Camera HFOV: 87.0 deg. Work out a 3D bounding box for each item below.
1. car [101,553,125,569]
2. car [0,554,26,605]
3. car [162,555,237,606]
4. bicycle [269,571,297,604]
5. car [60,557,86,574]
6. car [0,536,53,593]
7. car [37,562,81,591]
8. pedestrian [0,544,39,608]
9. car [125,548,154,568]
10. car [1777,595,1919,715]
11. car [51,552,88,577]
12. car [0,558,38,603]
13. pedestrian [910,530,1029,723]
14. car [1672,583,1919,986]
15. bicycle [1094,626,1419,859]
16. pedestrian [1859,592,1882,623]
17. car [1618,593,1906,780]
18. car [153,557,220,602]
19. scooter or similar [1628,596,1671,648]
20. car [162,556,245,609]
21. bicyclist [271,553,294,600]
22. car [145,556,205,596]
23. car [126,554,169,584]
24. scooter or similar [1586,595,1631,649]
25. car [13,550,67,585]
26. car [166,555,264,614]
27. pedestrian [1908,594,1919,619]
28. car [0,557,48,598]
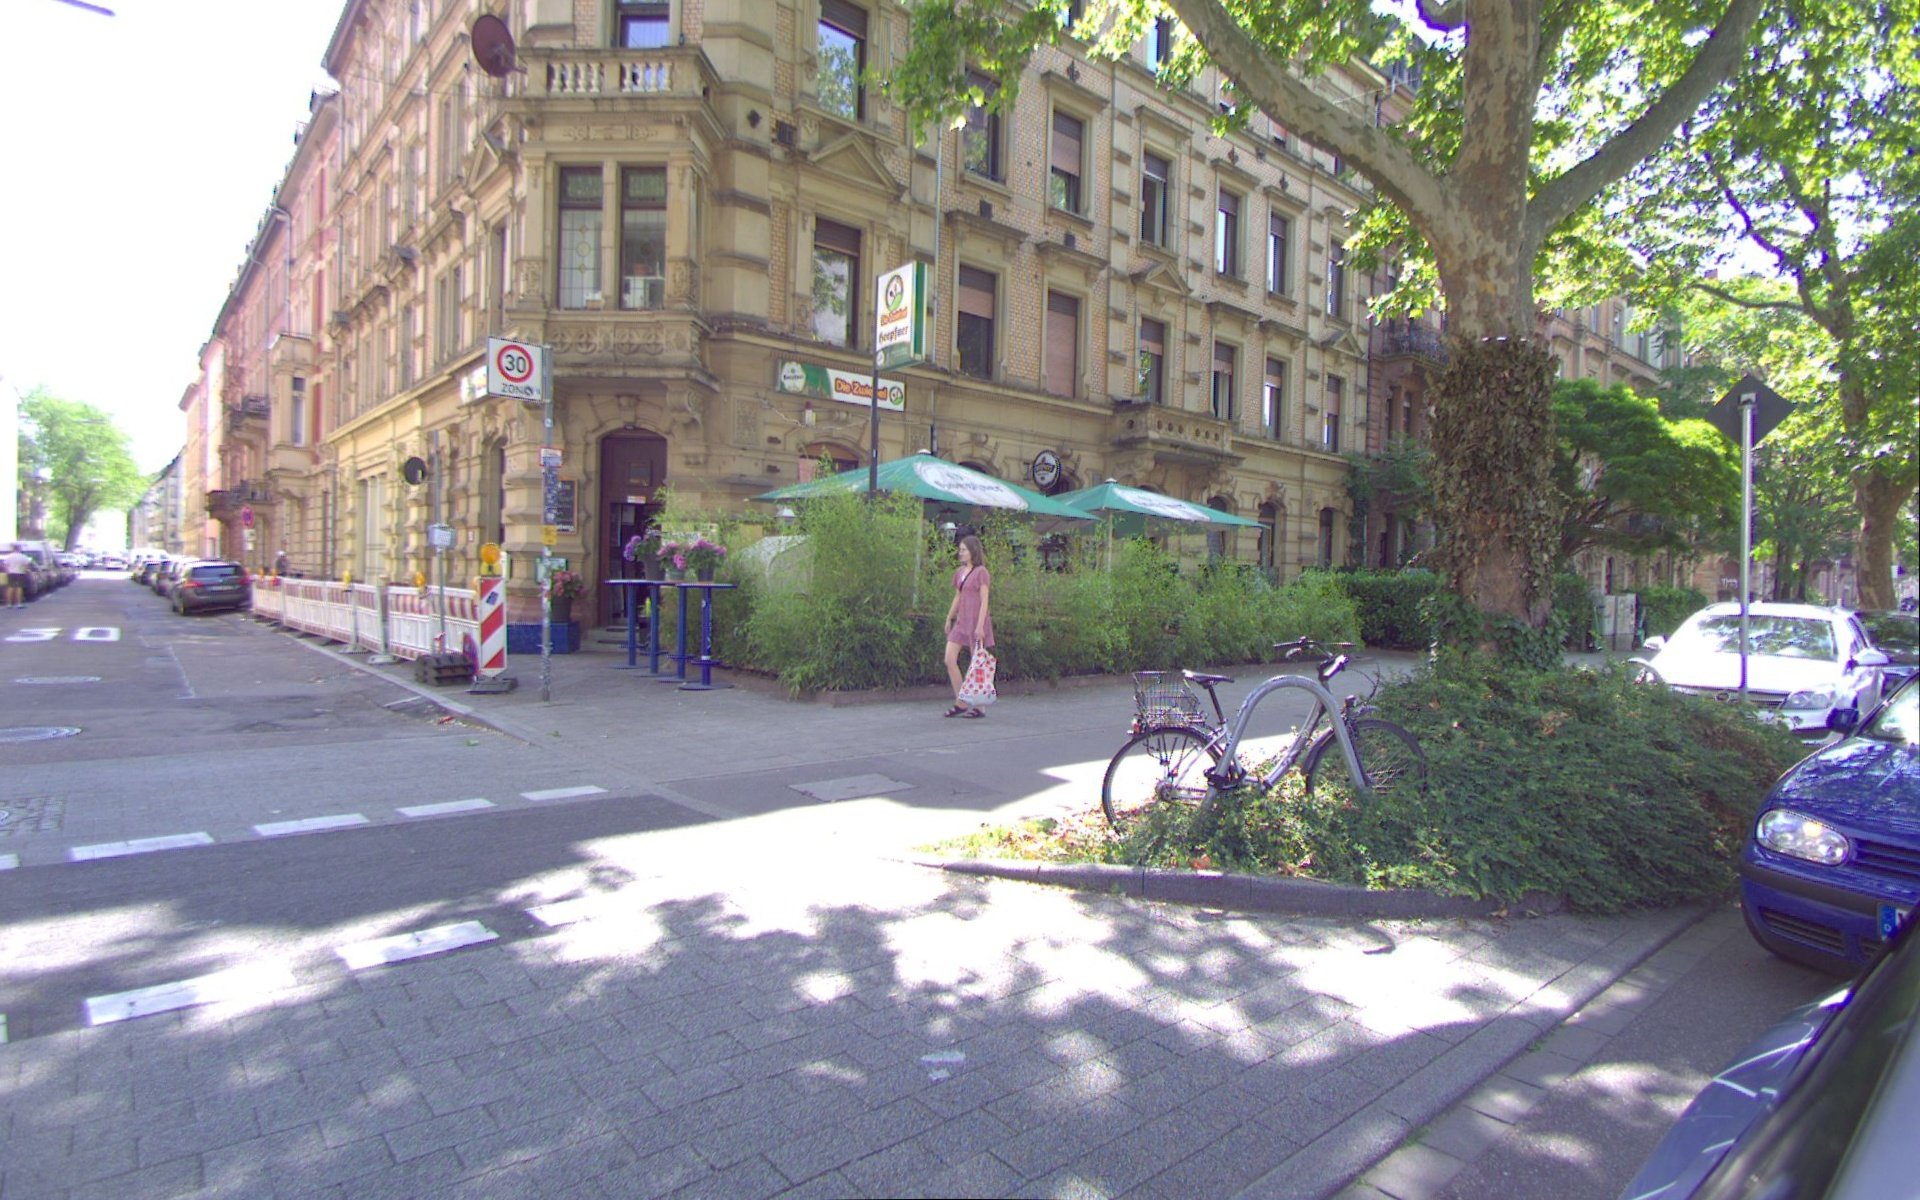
[{"bbox_3d":[-95.021,-4.403,113.518,1.965,1.760,3.995,0,1,-41],"label":"car"},{"bbox_3d":[-30.649,-0.681,31.874,1.698,1.548,3.490,0,1,-41],"label":"car"},{"bbox_3d":[-28.321,-0.750,37.655,1.965,1.760,3.995,0,2,-41],"label":"car"},{"bbox_3d":[-21.573,-0.405,32.237,0.530,0.991,1.307,1,1,-44],"label":"bicycle"},{"bbox_3d":[-77.408,-3.034,88.370,1.641,1.419,3.357,0,1,-40],"label":"car"},{"bbox_3d":[-41.390,-1.563,44.616,1.879,2.403,4.244,1,1,-39],"label":"car"},{"bbox_3d":[-57.824,-1.521,64.991,1.879,1.731,4.159,1,1,-39],"label":"car"},{"bbox_3d":[-27.426,-0.702,29.416,0.921,1.821,1.036,0,1,-44],"label":"pedestrian"},{"bbox_3d":[-75.786,-3.846,93.410,1.965,1.760,3.995,0,1,-41],"label":"car"},{"bbox_3d":[14.065,0.737,15.290,4.561,1.526,1.837,0,2,-40],"label":"car"},{"bbox_3d":[-64.433,-2.603,73.268,1.879,1.731,4.157,0,1,-40],"label":"car"},{"bbox_3d":[-34.208,-0.729,36.246,1.698,1.548,3.490,0,1,-42],"label":"car"},{"bbox_3d":[0.095,0.231,10.043,0.837,1.807,0.738,1,3,-41],"label":"pedestrian"},{"bbox_3d":[5.275,0.693,4.451,4.010,1.427,1.891,1,1,-28],"label":"car"},{"bbox_3d":[1.542,0.721,5.308,1.583,1.119,0.423,1,1,-10],"label":"bicycle"},{"bbox_3d":[51.693,0.404,57.451,0.951,1.740,0.796,1,1,-41],"label":"pedestrian"},{"bbox_3d":[8.664,0.730,10.775,4.418,1.526,1.835,0,2,-44],"label":"car"},{"bbox_3d":[-32.002,-0.868,41.815,1.965,1.760,3.995,0,2,-41],"label":"car"},{"bbox_3d":[17.953,0.553,26.345,1.124,1.298,0.583,1,1,-39],"label":"scooter or similar"},{"bbox_3d":[-25.318,-0.599,33.831,1.965,1.660,3.995,0,2,-41],"label":"car"},{"bbox_3d":[-21.600,-0.750,32.271,0.524,1.471,0.460,1,1,-44],"label":"bicyclist"},{"bbox_3d":[-36.243,-1.139,46.689,1.965,1.760,3.995,0,2,-41],"label":"car"},{"bbox_3d":[-50.993,-1.961,63.499,1.965,1.760,3.995,0,2,-41],"label":"car"},{"bbox_3d":[15.833,0.525,24.711,1.124,1.263,0.583,1,1,-40],"label":"scooter or similar"},{"bbox_3d":[-48.611,-1.739,53.536,1.879,1.731,4.159,1,1,-39],"label":"car"},{"bbox_3d":[-21.396,-0.467,29.005,1.965,1.571,3.995,0,2,-41],"label":"car"},{"bbox_3d":[67.300,0.478,71.194,0.951,1.740,0.796,1,1,-41],"label":"pedestrian"},{"bbox_3d":[-38.016,-0.933,40.872,1.698,1.548,3.490,0,1,-41],"label":"car"}]
